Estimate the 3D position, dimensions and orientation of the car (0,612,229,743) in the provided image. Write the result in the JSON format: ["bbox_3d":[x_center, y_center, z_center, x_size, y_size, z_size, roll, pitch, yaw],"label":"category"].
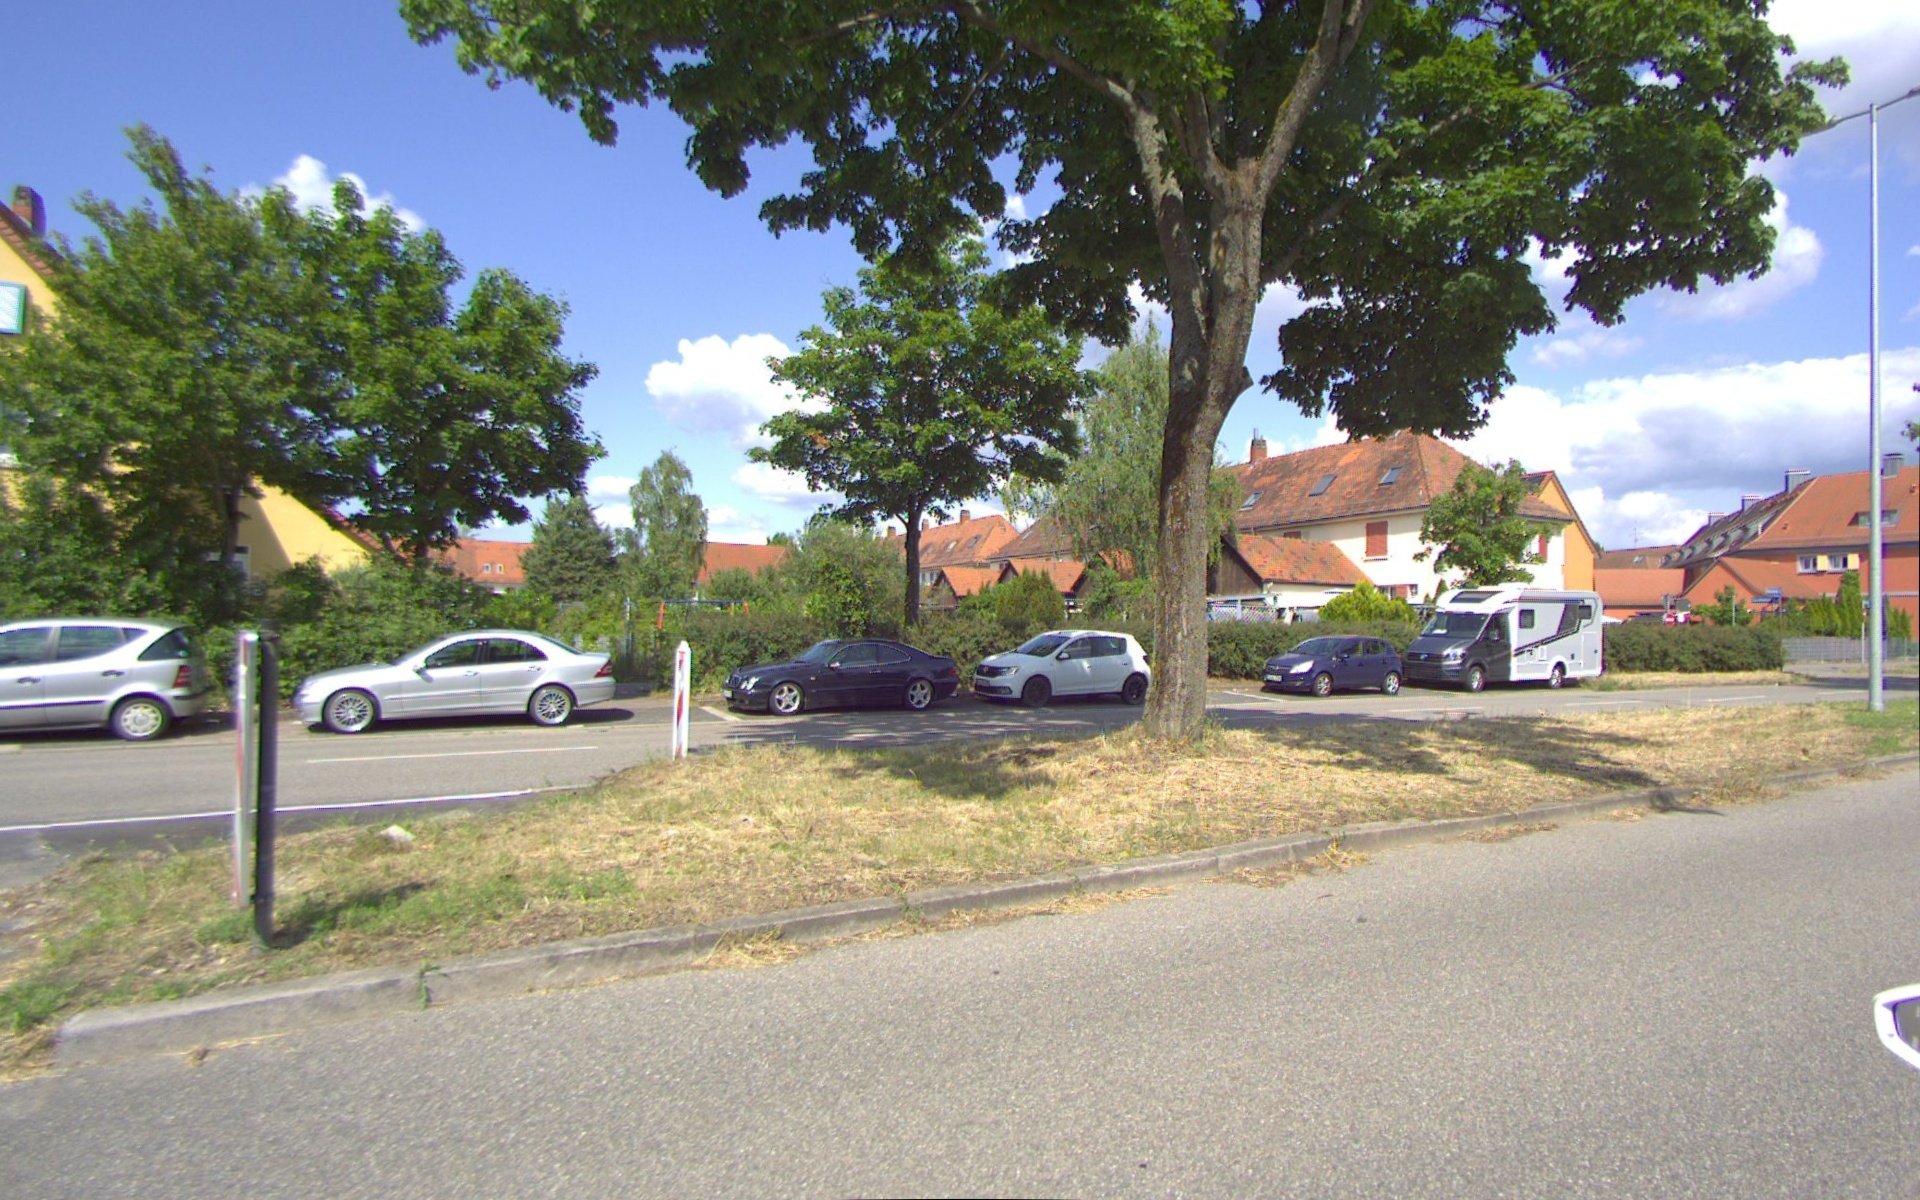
[{"bbox_3d":[-12.037,0.982,13.243,3.699,1.578,1.395,2,1,-31],"label":"car"}]

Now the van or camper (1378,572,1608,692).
[{"bbox_3d":[15.520,0.868,29.075,7.230,3.154,2.249,1,1,-29],"label":"van or camper"}]

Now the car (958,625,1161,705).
[{"bbox_3d":[2.149,1.371,21.460,4.074,1.505,1.681,2,0,-29],"label":"car"}]

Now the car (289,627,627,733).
[{"bbox_3d":[-7.620,1.167,15.582,4.475,1.388,1.504,1,1,-29],"label":"car"}]

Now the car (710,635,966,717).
[{"bbox_3d":[-2.258,1.360,18.969,4.527,1.324,1.629,1,1,-29],"label":"car"}]

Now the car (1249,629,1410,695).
[{"bbox_3d":[9.394,1.568,25.495,3.944,1.505,1.629,2,0,-29],"label":"car"}]
